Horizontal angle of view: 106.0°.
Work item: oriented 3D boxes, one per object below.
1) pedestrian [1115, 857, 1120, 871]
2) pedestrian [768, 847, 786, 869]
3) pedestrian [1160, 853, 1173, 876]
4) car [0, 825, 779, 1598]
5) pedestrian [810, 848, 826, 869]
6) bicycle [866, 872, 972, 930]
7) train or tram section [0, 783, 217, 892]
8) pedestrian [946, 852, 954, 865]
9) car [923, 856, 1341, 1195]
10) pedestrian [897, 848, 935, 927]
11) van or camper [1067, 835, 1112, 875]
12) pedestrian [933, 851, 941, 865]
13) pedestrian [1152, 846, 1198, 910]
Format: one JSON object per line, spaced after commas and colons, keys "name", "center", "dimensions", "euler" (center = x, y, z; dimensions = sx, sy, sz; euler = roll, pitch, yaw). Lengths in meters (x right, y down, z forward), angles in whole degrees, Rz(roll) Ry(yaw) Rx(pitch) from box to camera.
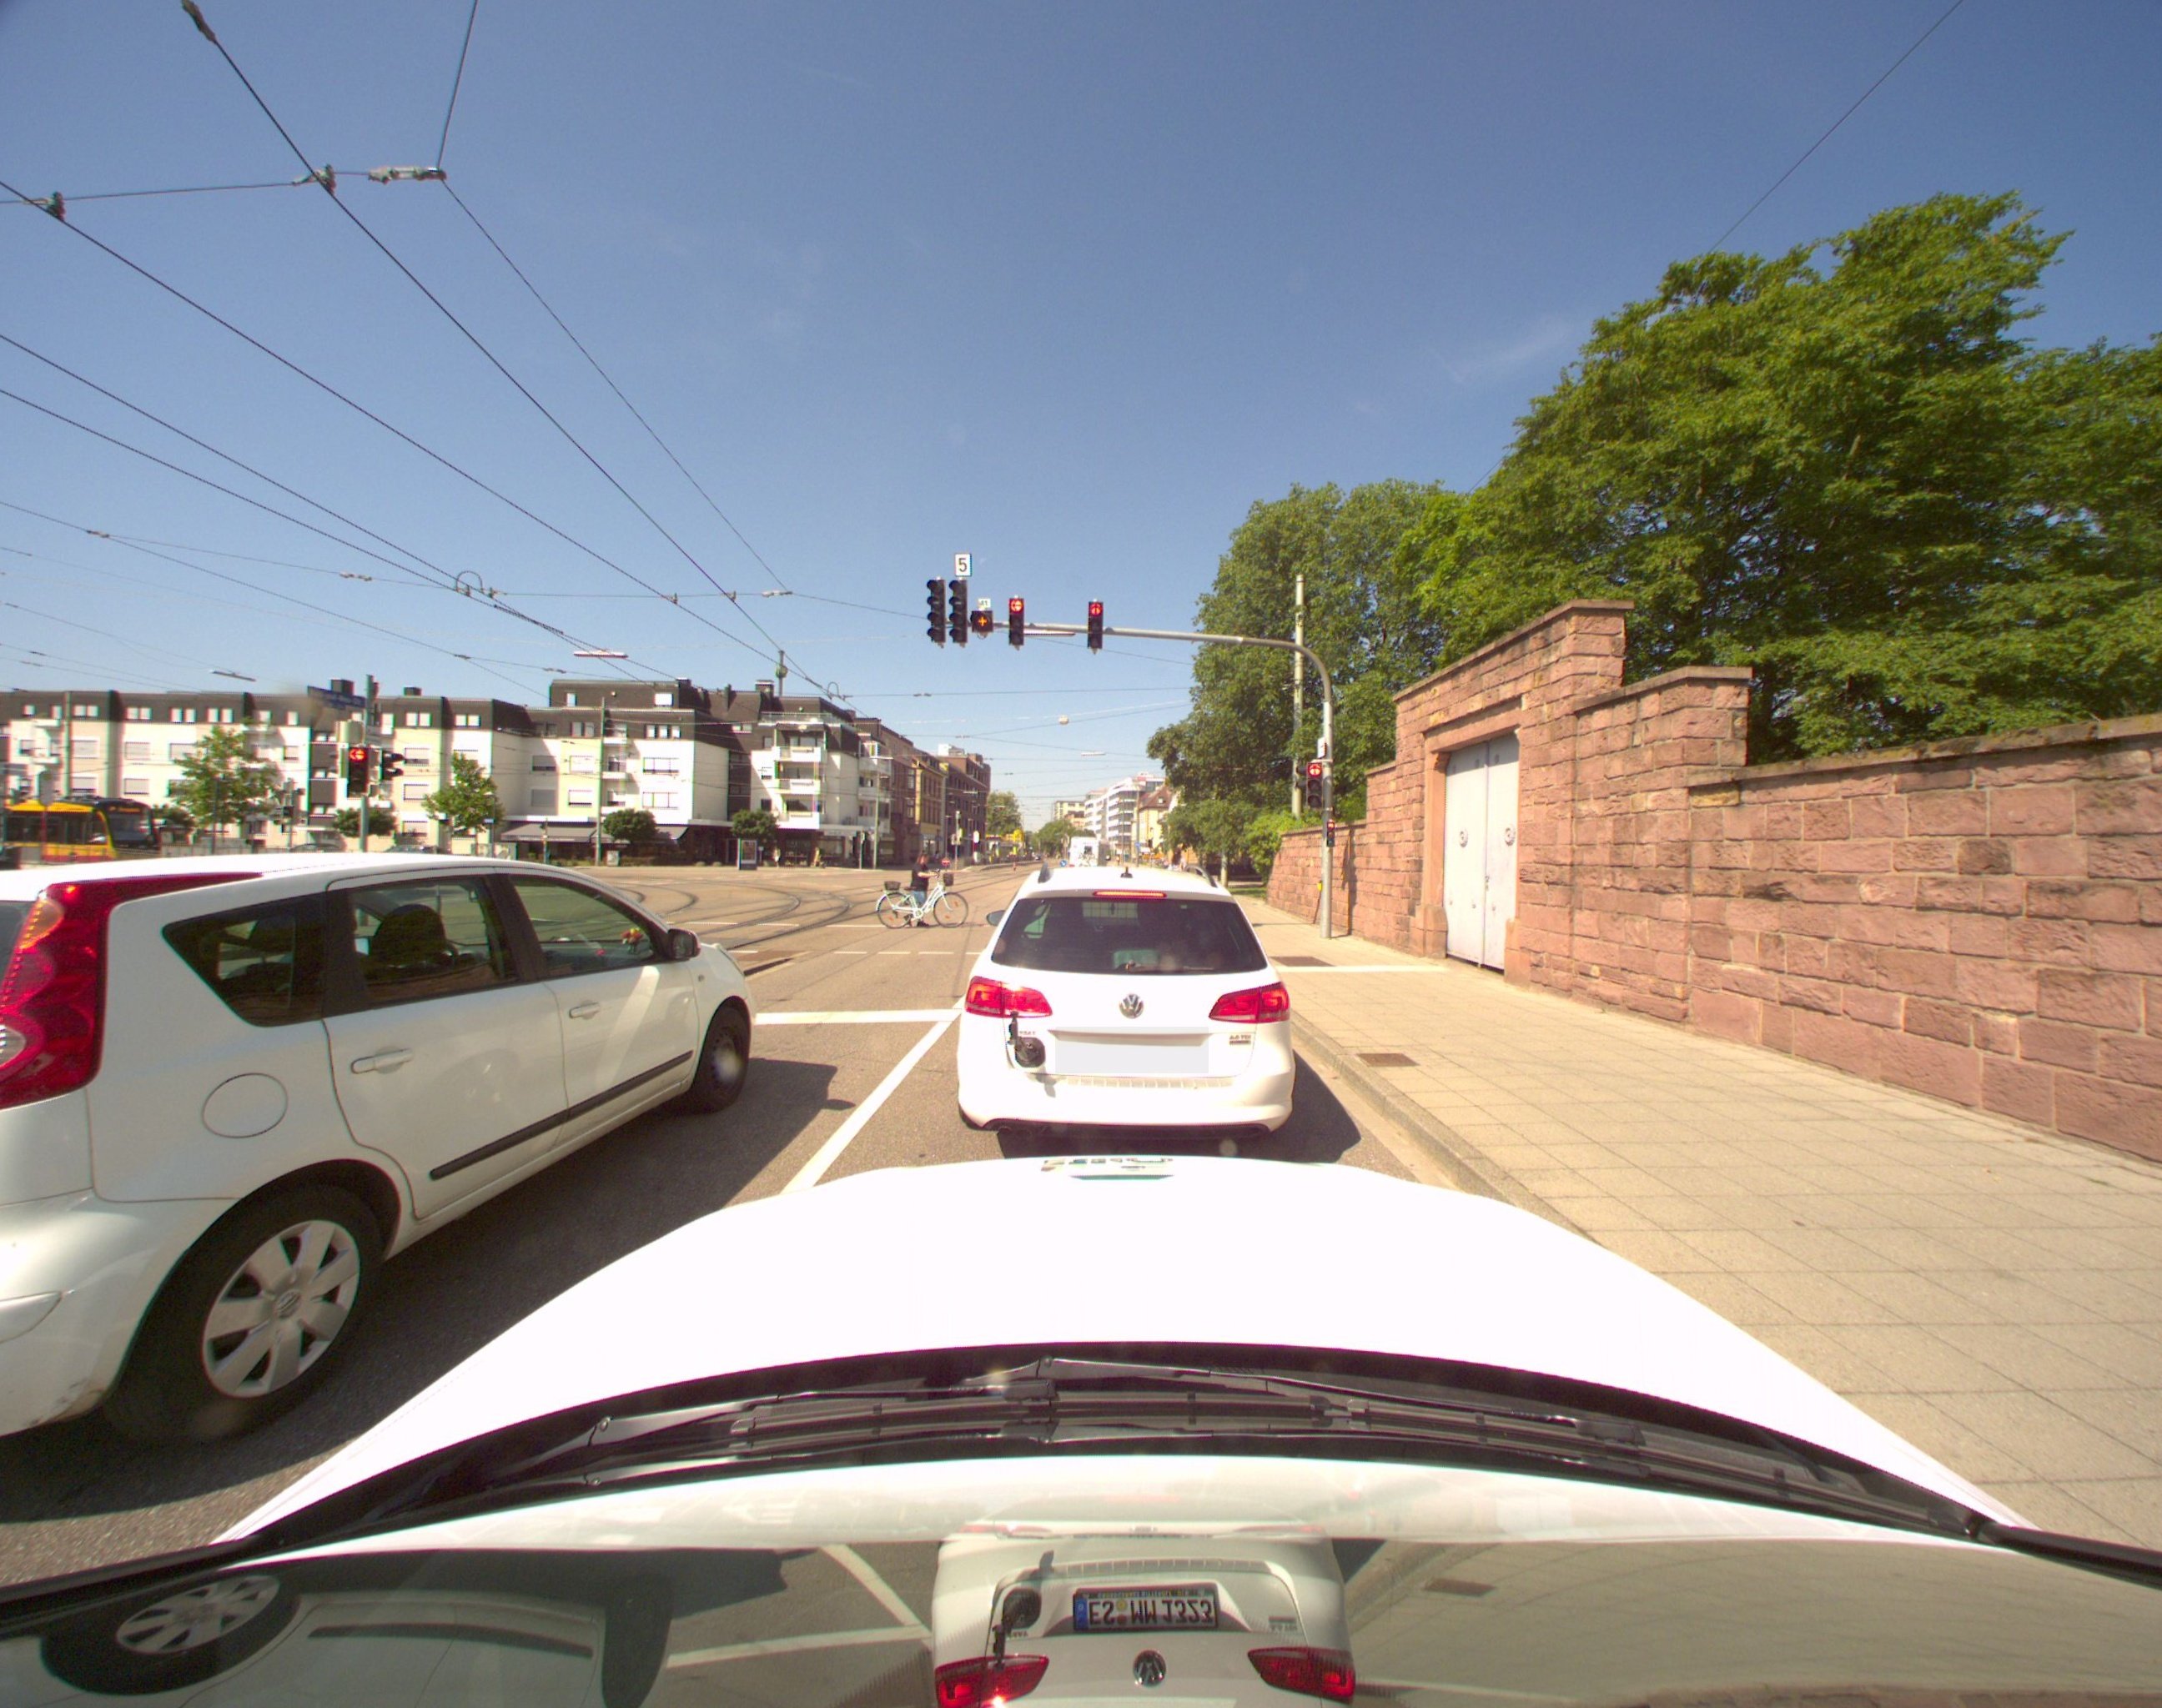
{"name": "pedestrian", "center": [5.889, 1.620, 130.870], "dimensions": [0.687, 2.325, 1.233], "euler": [-1, -1, 3]}
{"name": "pedestrian", "center": [-24.065, 0.322, 64.486], "dimensions": [0.853, 1.743, 0.981], "euler": [-2, -2, 33]}
{"name": "pedestrian", "center": [6.536, 0.803, 62.370], "dimensions": [0.856, 1.743, 0.978], "euler": [-1, -1, 11]}
{"name": "car", "center": [-2.903, 0.710, 3.554], "dimensions": [1.636, 1.566, 3.805], "euler": [-1, 1, 1]}
{"name": "pedestrian", "center": [-22.101, 0.362, 68.361], "dimensions": [0.853, 1.743, 0.981], "euler": [-2, -2, 39]}
{"name": "bicycle", "center": [-3.213, 0.926, 16.191], "dimensions": [2.021, 1.090, 0.707], "euler": [1, 0, -13]}
{"name": "train or tram section", "center": [-54.709, -0.679, 41.528], "dimensions": [16.149, 5.150, 4.735], "euler": [-1, -1, 0]}
{"name": "pedestrian", "center": [-17.267, 0.574, 107.413], "dimensions": [0.860, 1.743, 0.973], "euler": [-1, -1, -4]}
{"name": "car", "center": [0.277, 0.747, 5.535], "dimensions": [1.801, 1.448, 4.001], "euler": [0, 0, 1]}
{"name": "pedestrian", "center": [-3.401, 0.668, 16.773], "dimensions": [0.746, 1.571, 0.672], "euler": [-1, 0, -12]}
{"name": "van or camper", "center": [0.767, 0.148, 66.154], "dimensions": [2.550, 3.093, 5.720], "euler": [-1, -1, 11]}
{"name": "pedestrian", "center": [-17.985, 0.476, 101.438], "dimensions": [0.860, 1.743, 0.973], "euler": [-1, -1, -4]}
{"name": "pedestrian", "center": [2.503, 0.627, 21.631], "dimensions": [0.944, 1.651, 0.980], "euler": [-2, -1, 25]}
